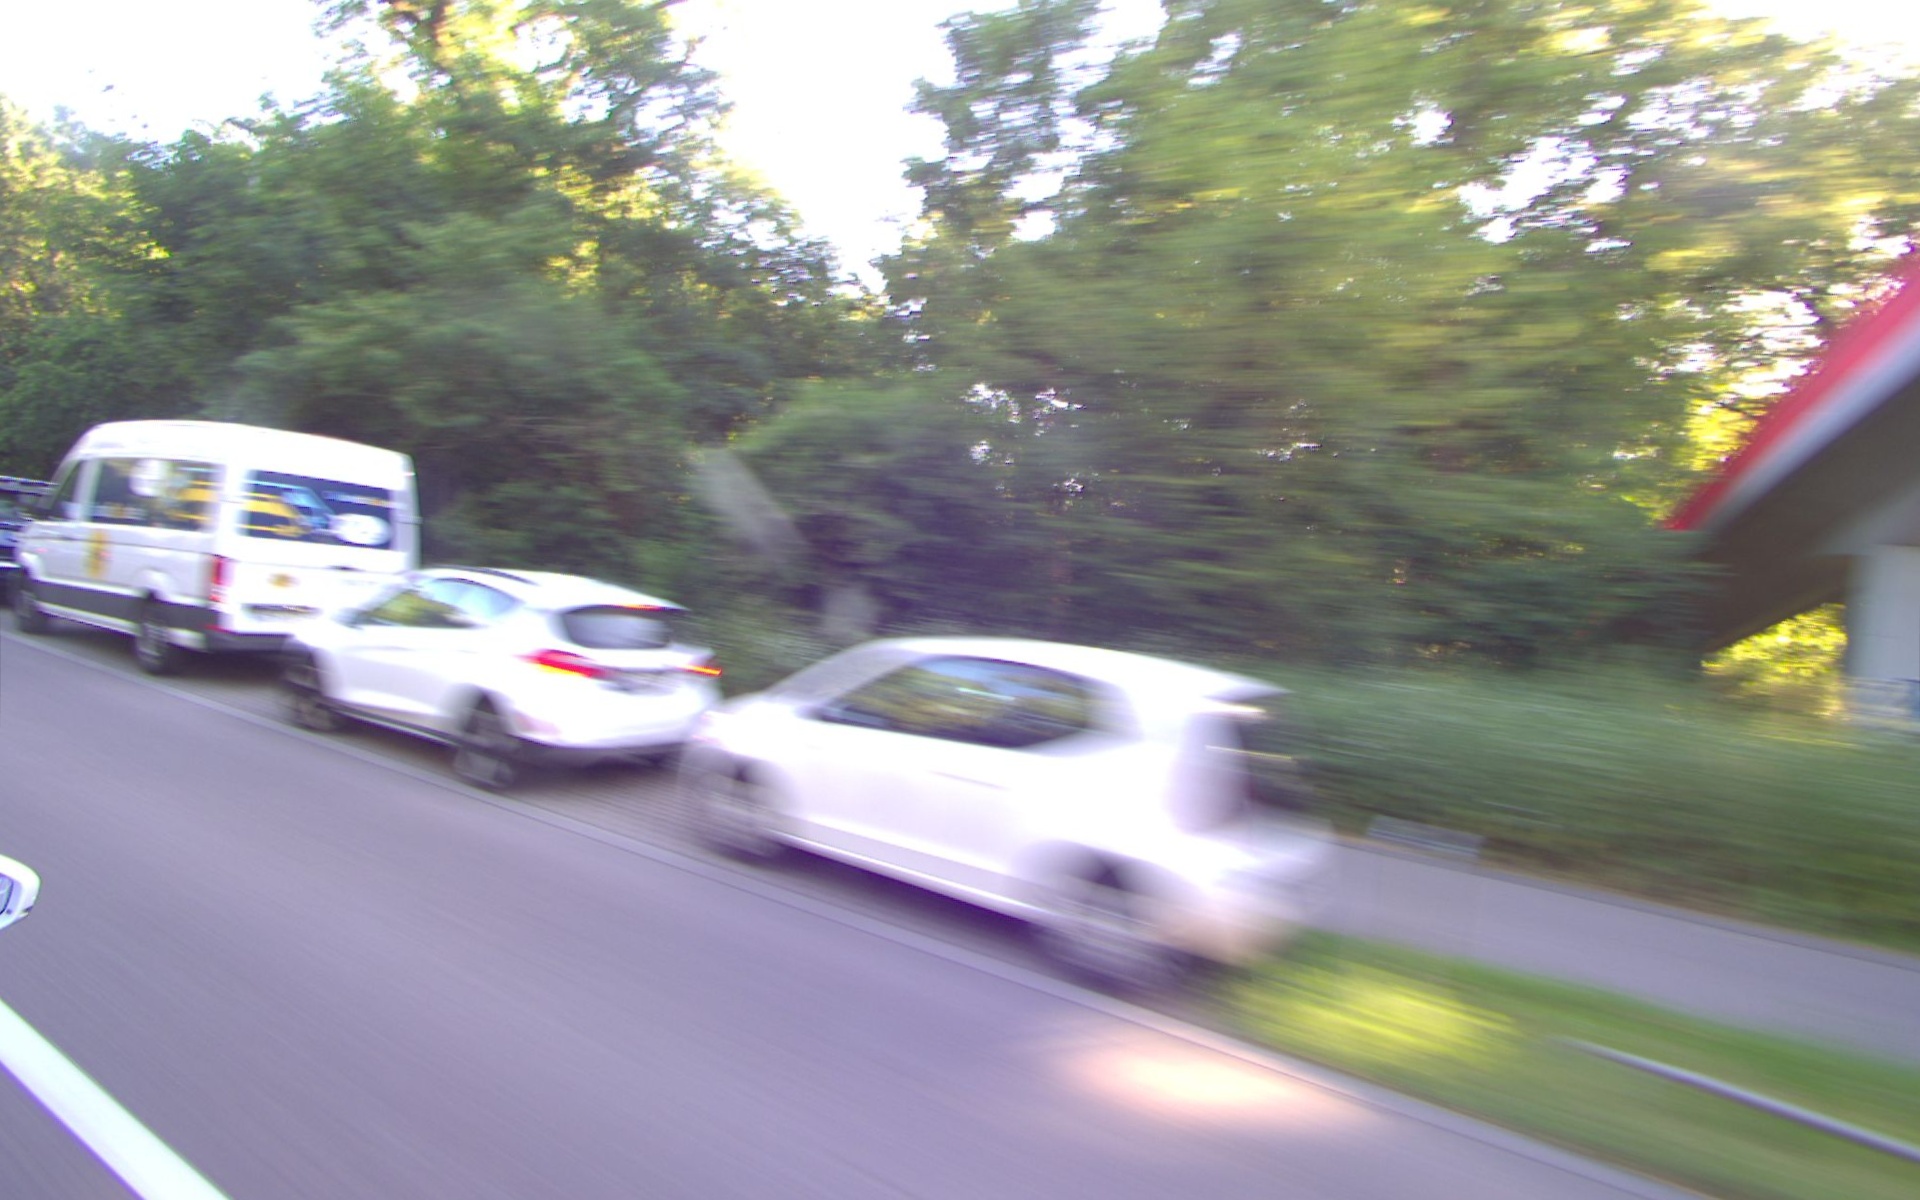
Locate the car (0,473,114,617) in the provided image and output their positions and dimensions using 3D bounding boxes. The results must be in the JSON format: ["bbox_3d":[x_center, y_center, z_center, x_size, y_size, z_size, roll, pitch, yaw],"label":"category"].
[{"bbox_3d":[-15.038,-1.014,15.260,4.990,1.891,1.831,7,0,32],"label":"car"}]

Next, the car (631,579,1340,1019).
[{"bbox_3d":[0.025,0.844,5.916,3.714,1.515,1.722,7,2,34],"label":"car"}]

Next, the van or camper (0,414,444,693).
[{"bbox_3d":[-8.877,-0.629,11.720,5.880,2.548,2.122,7,0,31],"label":"van or camper"}]

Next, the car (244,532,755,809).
[{"bbox_3d":[-3.854,0.431,8.231,4.076,1.515,1.724,7,1,31],"label":"car"}]
